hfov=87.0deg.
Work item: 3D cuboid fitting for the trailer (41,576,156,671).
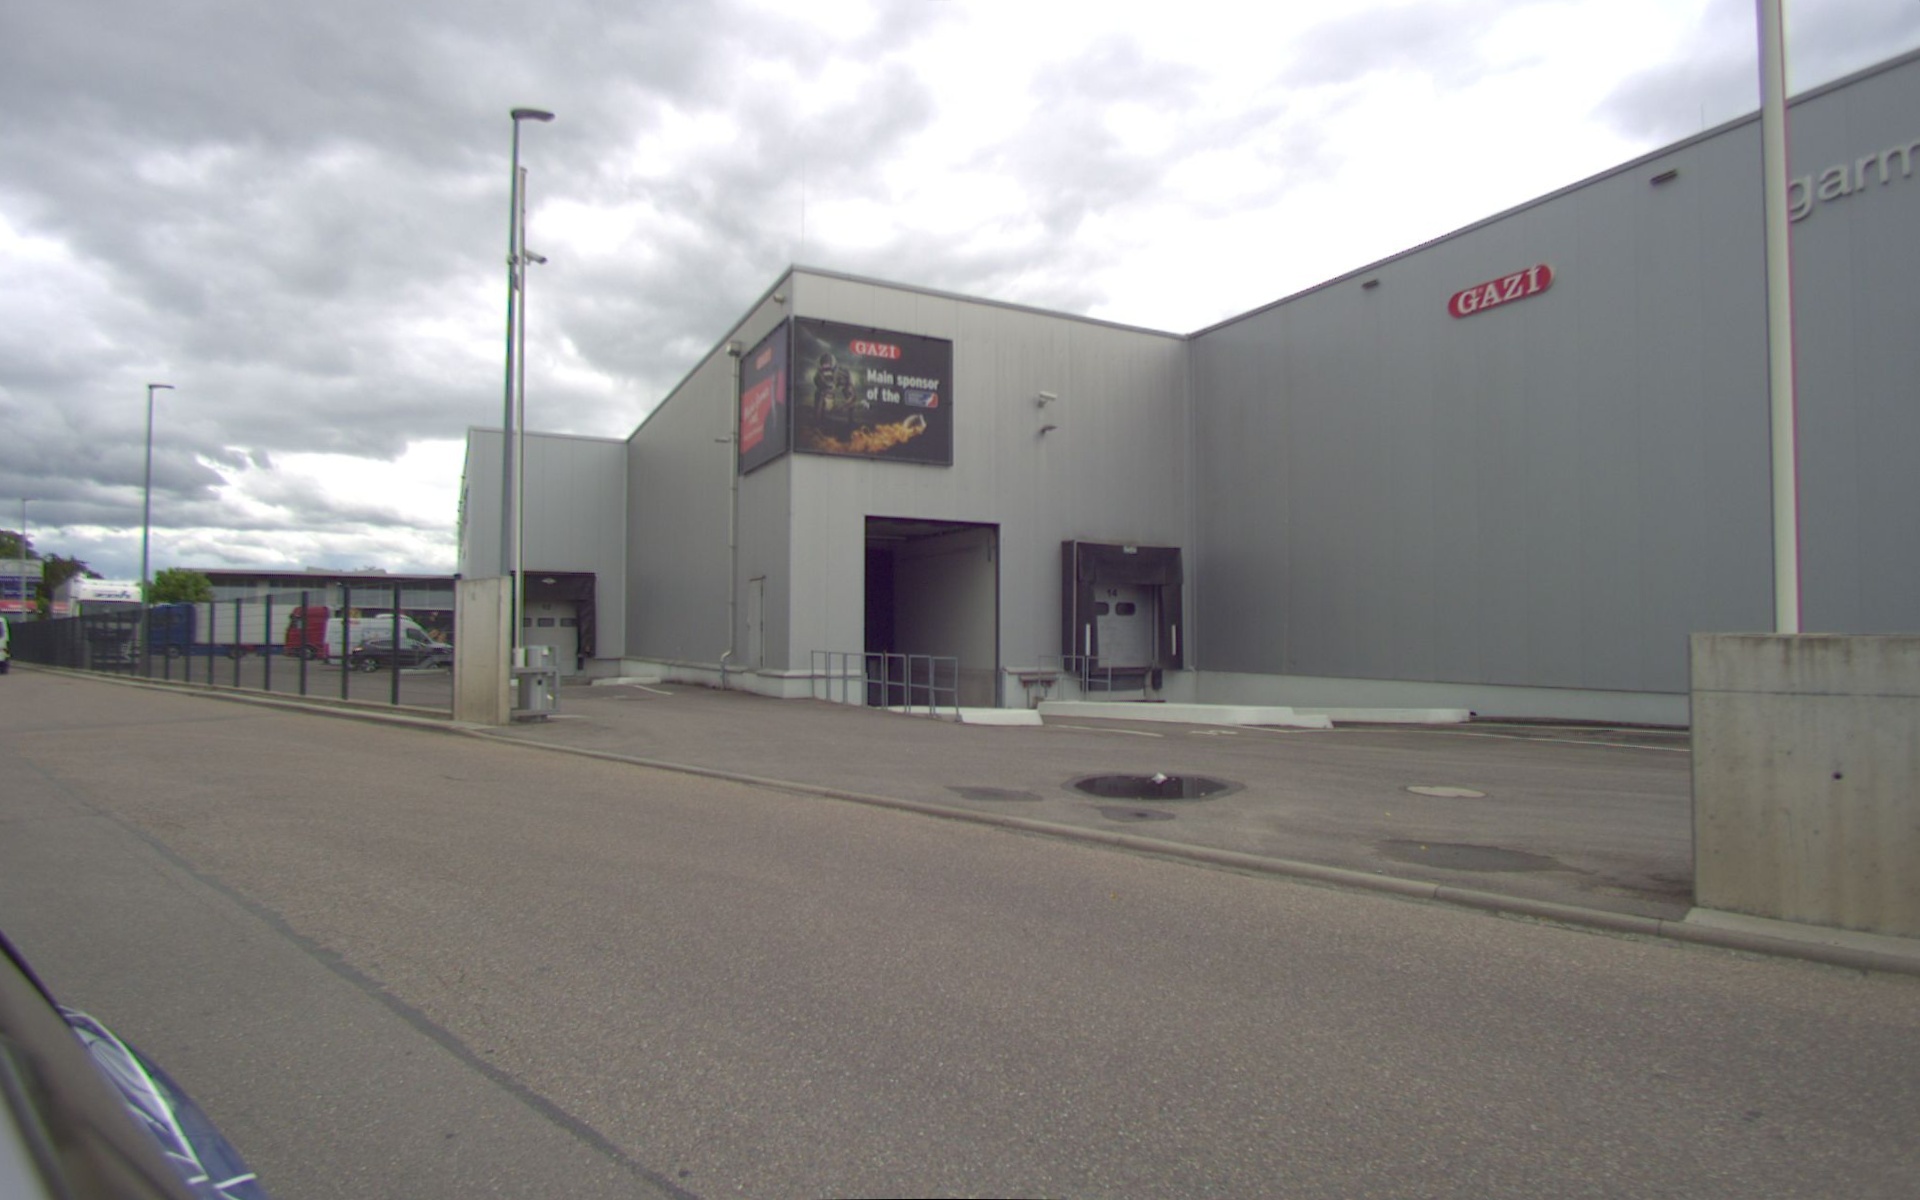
[{"bbox_3d":[-44.034,1.325,51.479,3.320,4.192,13.857,5,-5,-44],"label":"trailer"}]

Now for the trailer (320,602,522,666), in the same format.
[{"bbox_3d":[-40.167,2.672,76.082,12.962,4.245,3.058,3,-4,-26],"label":"trailer"}]

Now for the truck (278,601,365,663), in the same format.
[{"bbox_3d":[-46.090,2.362,73.205,4.797,4.237,3.058,3,-4,-26],"label":"truck"}]

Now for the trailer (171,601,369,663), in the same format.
[{"bbox_3d":[-51.434,2.484,76.040,11.841,4.164,3.057,3,-4,-30],"label":"trailer"}]

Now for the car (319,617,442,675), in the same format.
[{"bbox_3d":[-29.488,2.297,51.653,5.341,2.751,2.248,0,-2,-29],"label":"car"}]

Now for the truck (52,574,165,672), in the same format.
[{"bbox_3d":[-39.142,1.146,46.471,3.320,4.192,5.630,5,-5,-44],"label":"truck"}]

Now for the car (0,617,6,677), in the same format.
[{"bbox_3d":[-41.117,1.976,42.150,1.970,2.434,5.261,1,-2,-43],"label":"car"}]

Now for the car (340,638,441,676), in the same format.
[{"bbox_3d":[-26.676,2.657,47.557,4.010,1.589,1.950,0,-2,-27],"label":"car"}]

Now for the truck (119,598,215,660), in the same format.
[{"bbox_3d":[-56.593,2.105,72.269,3.048,4.164,4.813,-2,-5,42],"label":"truck"}]

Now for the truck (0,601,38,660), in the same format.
[{"bbox_3d":[-66.180,2.119,69.909,5.669,3.879,2.981,-2,-5,42],"label":"truck"}]
